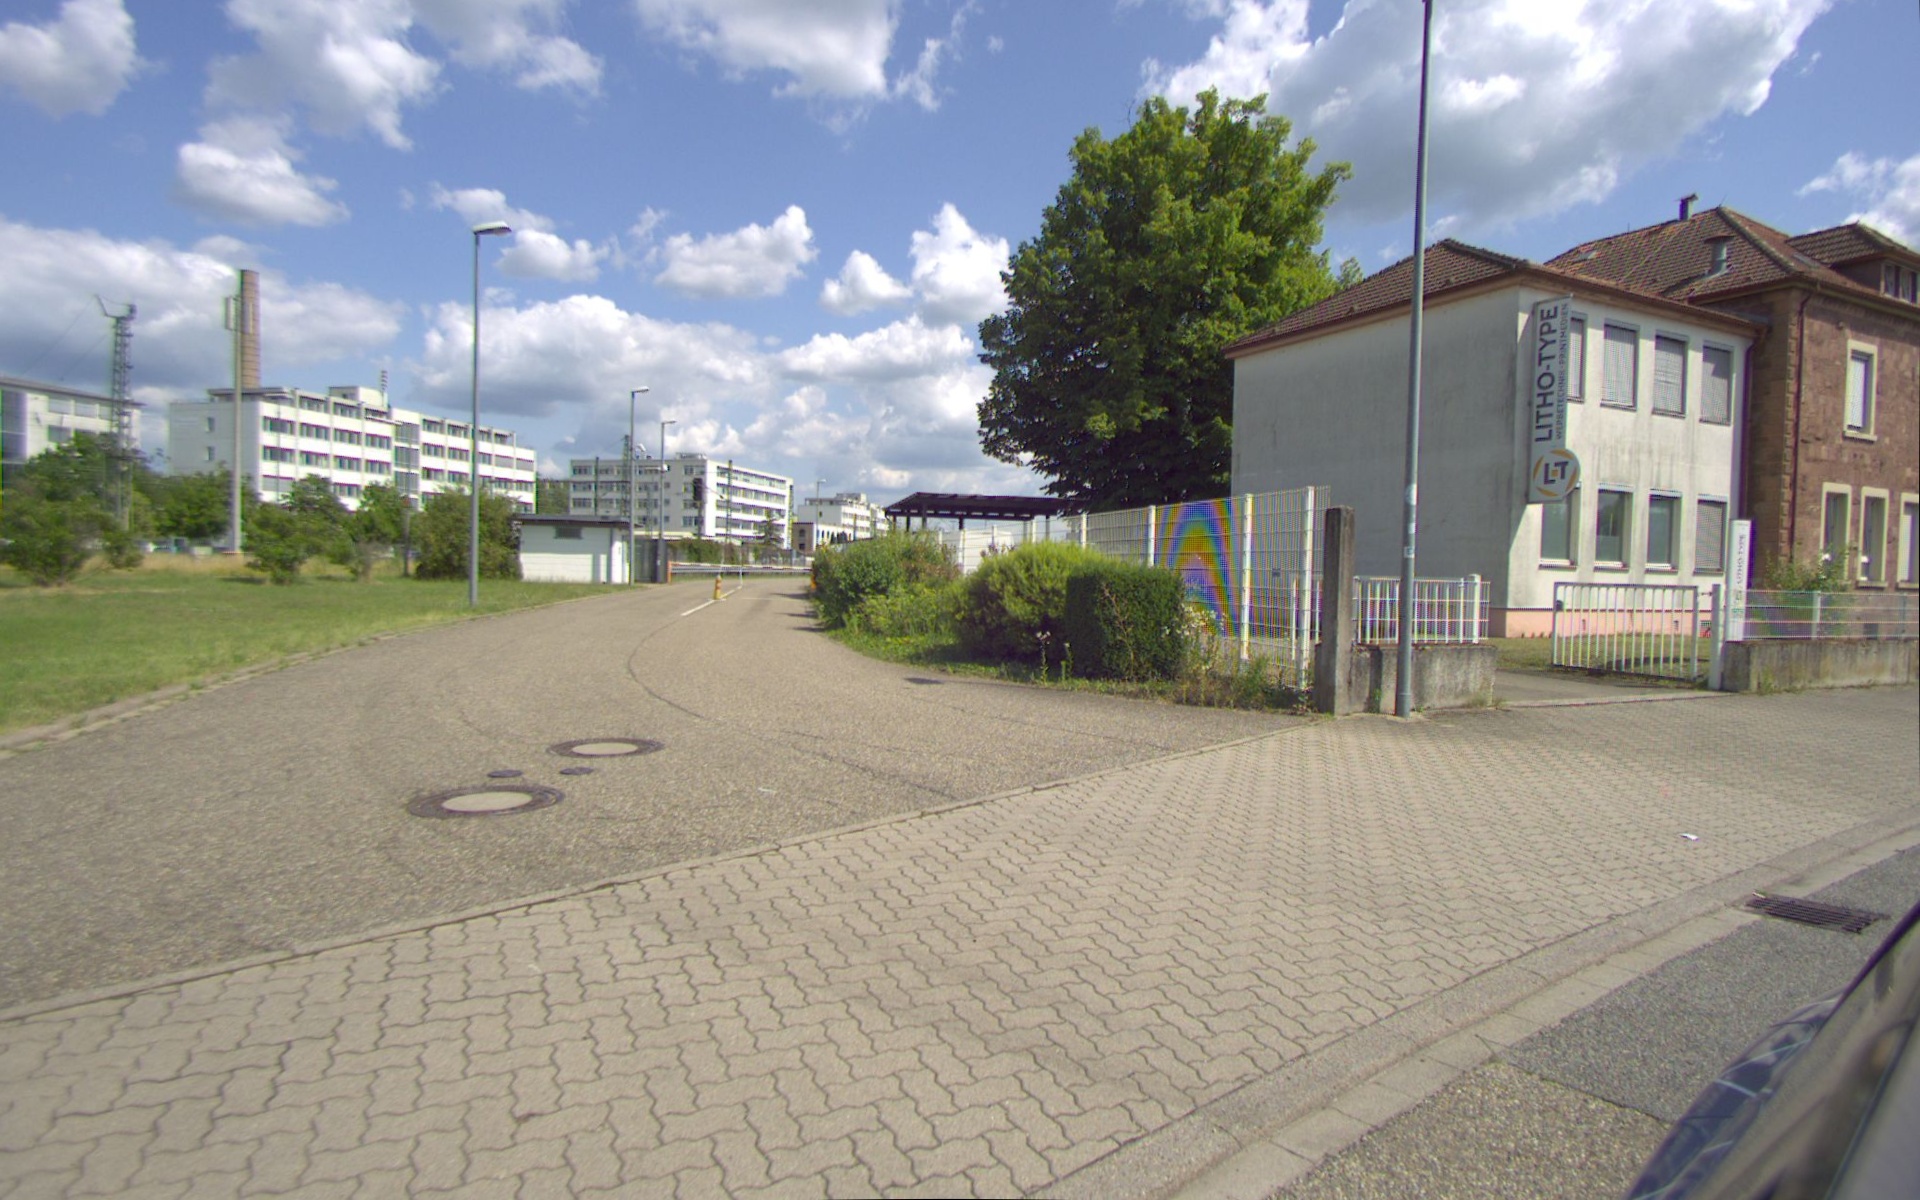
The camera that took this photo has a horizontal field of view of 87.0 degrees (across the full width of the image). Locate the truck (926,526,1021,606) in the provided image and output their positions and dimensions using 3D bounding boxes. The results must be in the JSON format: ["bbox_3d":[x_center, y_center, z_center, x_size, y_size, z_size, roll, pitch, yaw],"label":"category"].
[{"bbox_3d":[0.357,-1.177,34.364,1.958,2.454,4.756,1,2,-15],"label":"truck"}]

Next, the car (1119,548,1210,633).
[{"bbox_3d":[4.942,-0.287,24.930,1.772,1.854,3.994,2,2,6],"label":"car"}]
